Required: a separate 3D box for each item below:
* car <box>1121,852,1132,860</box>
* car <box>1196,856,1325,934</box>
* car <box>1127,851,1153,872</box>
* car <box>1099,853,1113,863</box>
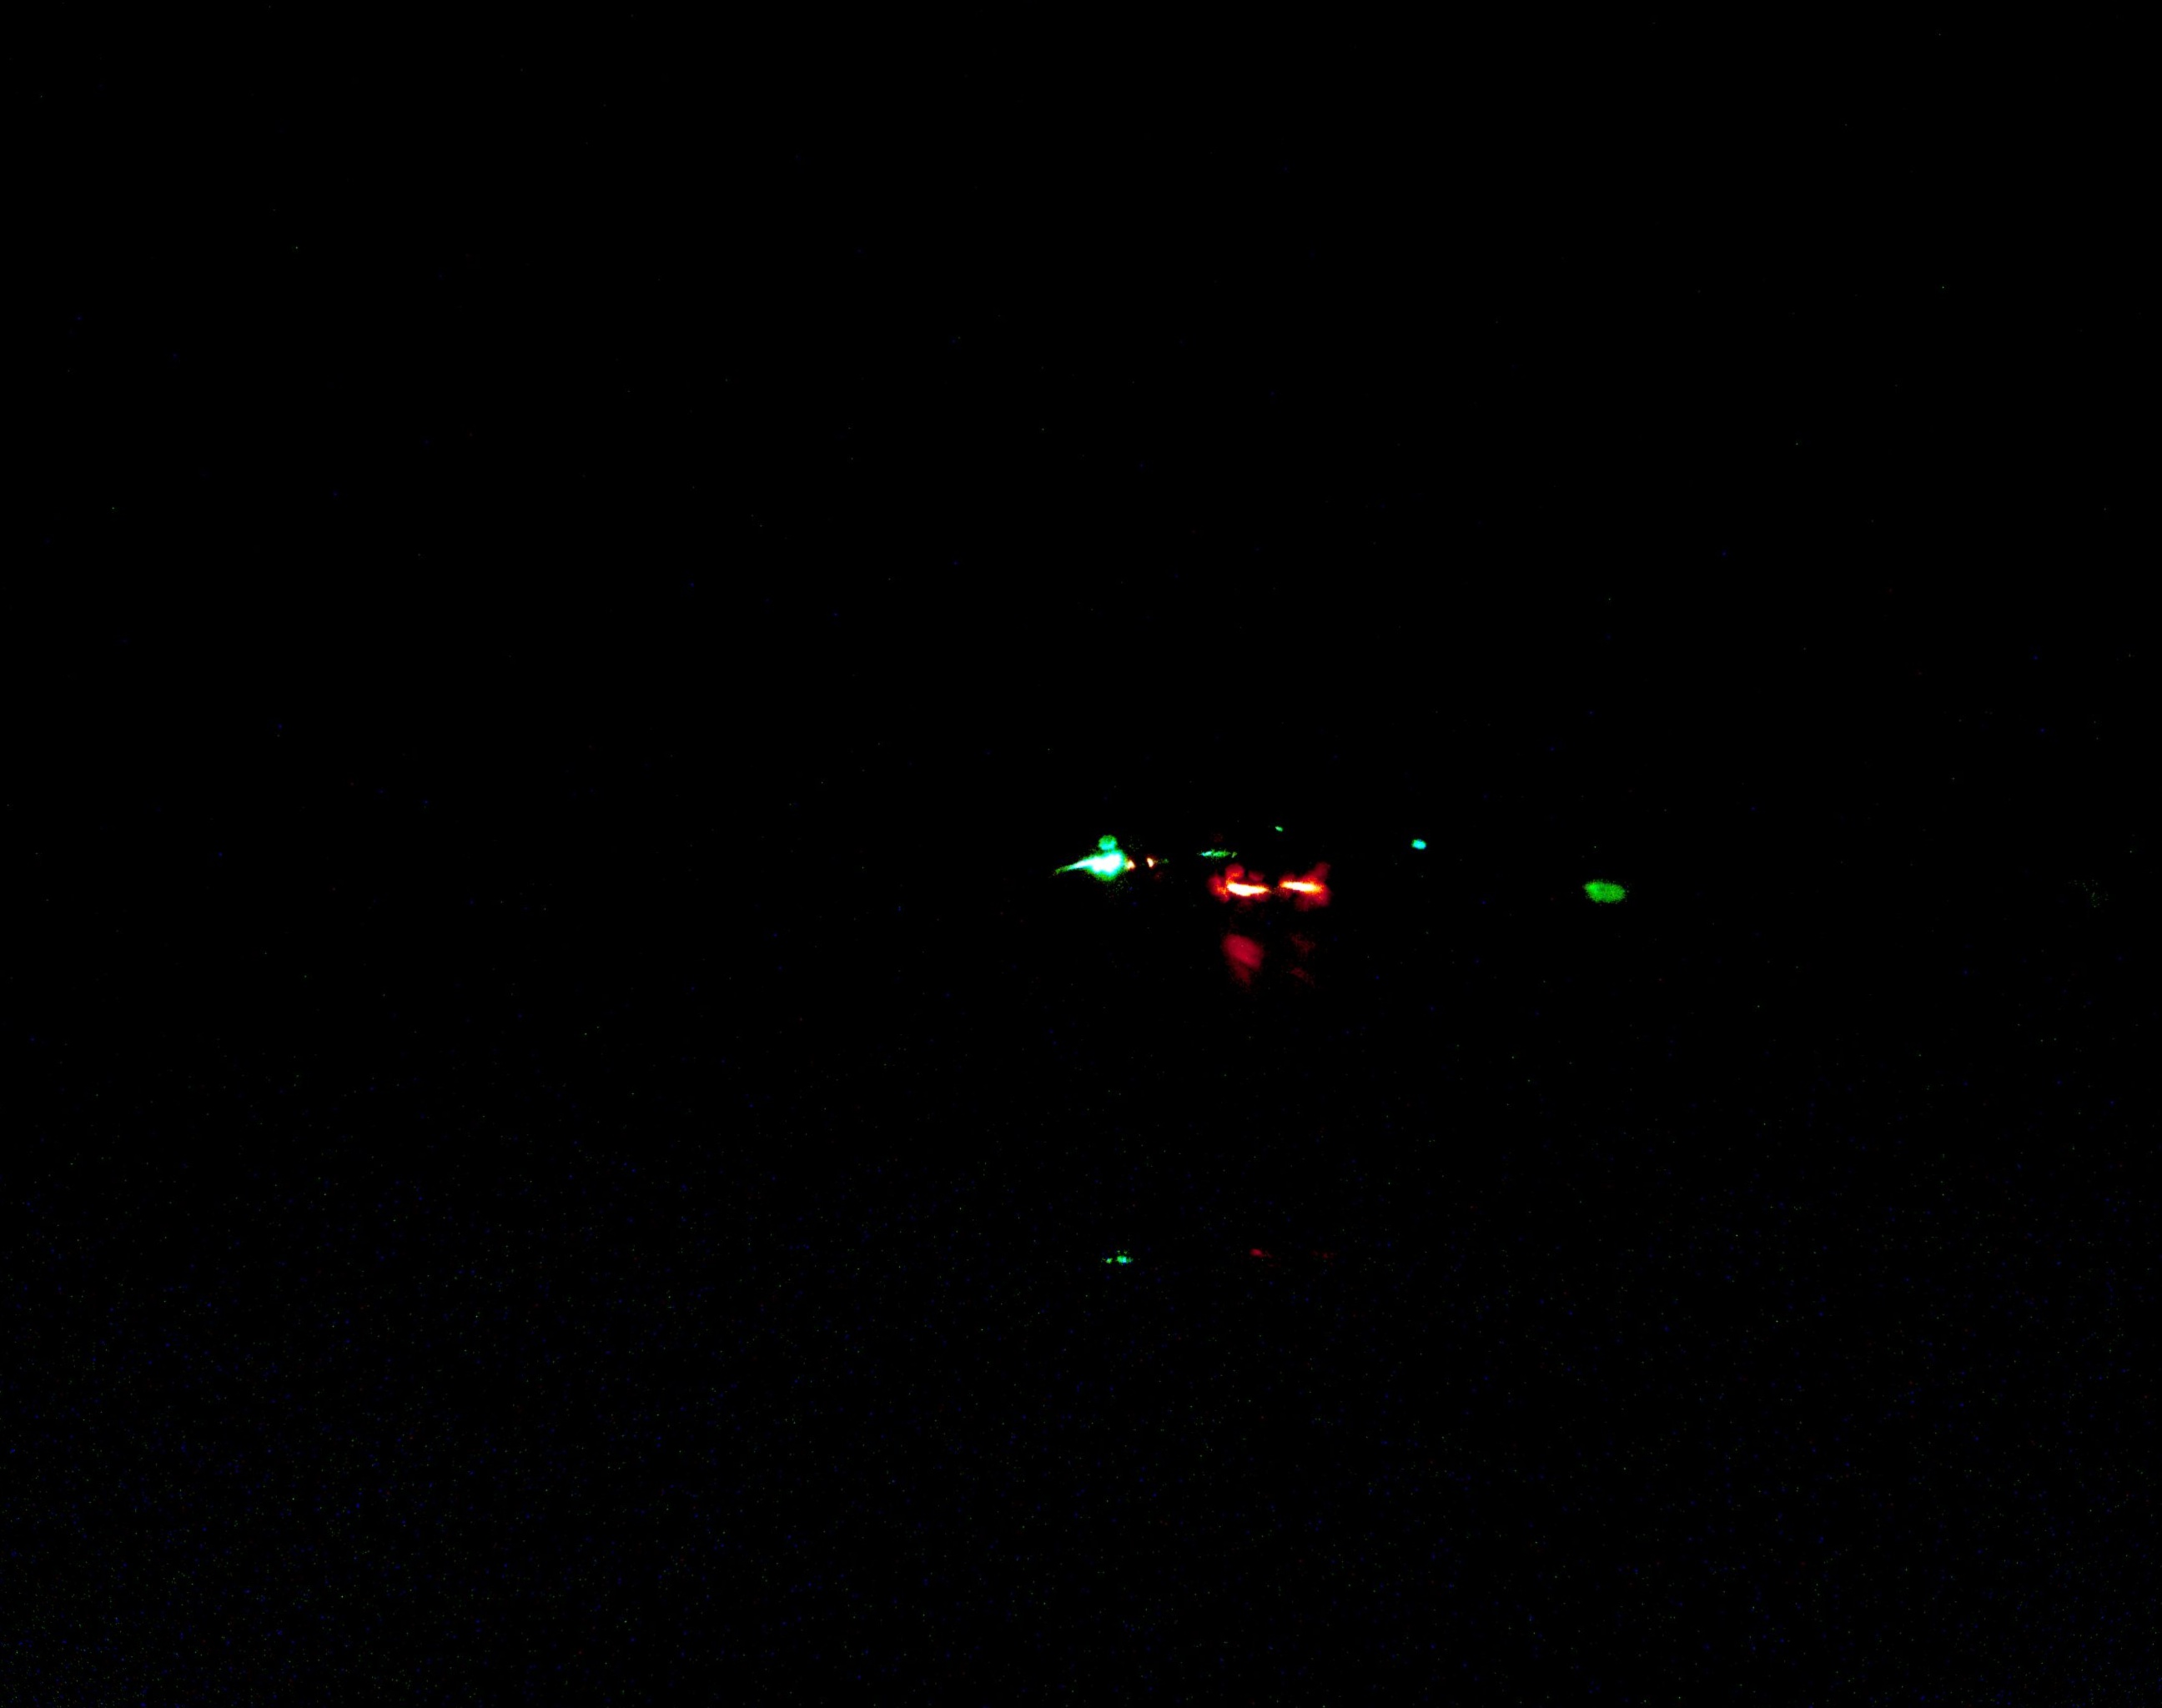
[{"bbox_3d":[7.646,0.308,126.958,1.645,1.351,3.681,-2,0,1],"label":"car"},{"bbox_3d":[3.809,0.803,16.894,1.873,1.439,4.393,-2,0,1],"label":"car"},{"bbox_3d":[4.867,0.606,63.137,1.873,1.603,3.847,-2,0,1],"label":"car"},{"bbox_3d":[4.063,0.638,123.308,1.745,1.623,3.738,-1,0,8],"label":"car"}]
